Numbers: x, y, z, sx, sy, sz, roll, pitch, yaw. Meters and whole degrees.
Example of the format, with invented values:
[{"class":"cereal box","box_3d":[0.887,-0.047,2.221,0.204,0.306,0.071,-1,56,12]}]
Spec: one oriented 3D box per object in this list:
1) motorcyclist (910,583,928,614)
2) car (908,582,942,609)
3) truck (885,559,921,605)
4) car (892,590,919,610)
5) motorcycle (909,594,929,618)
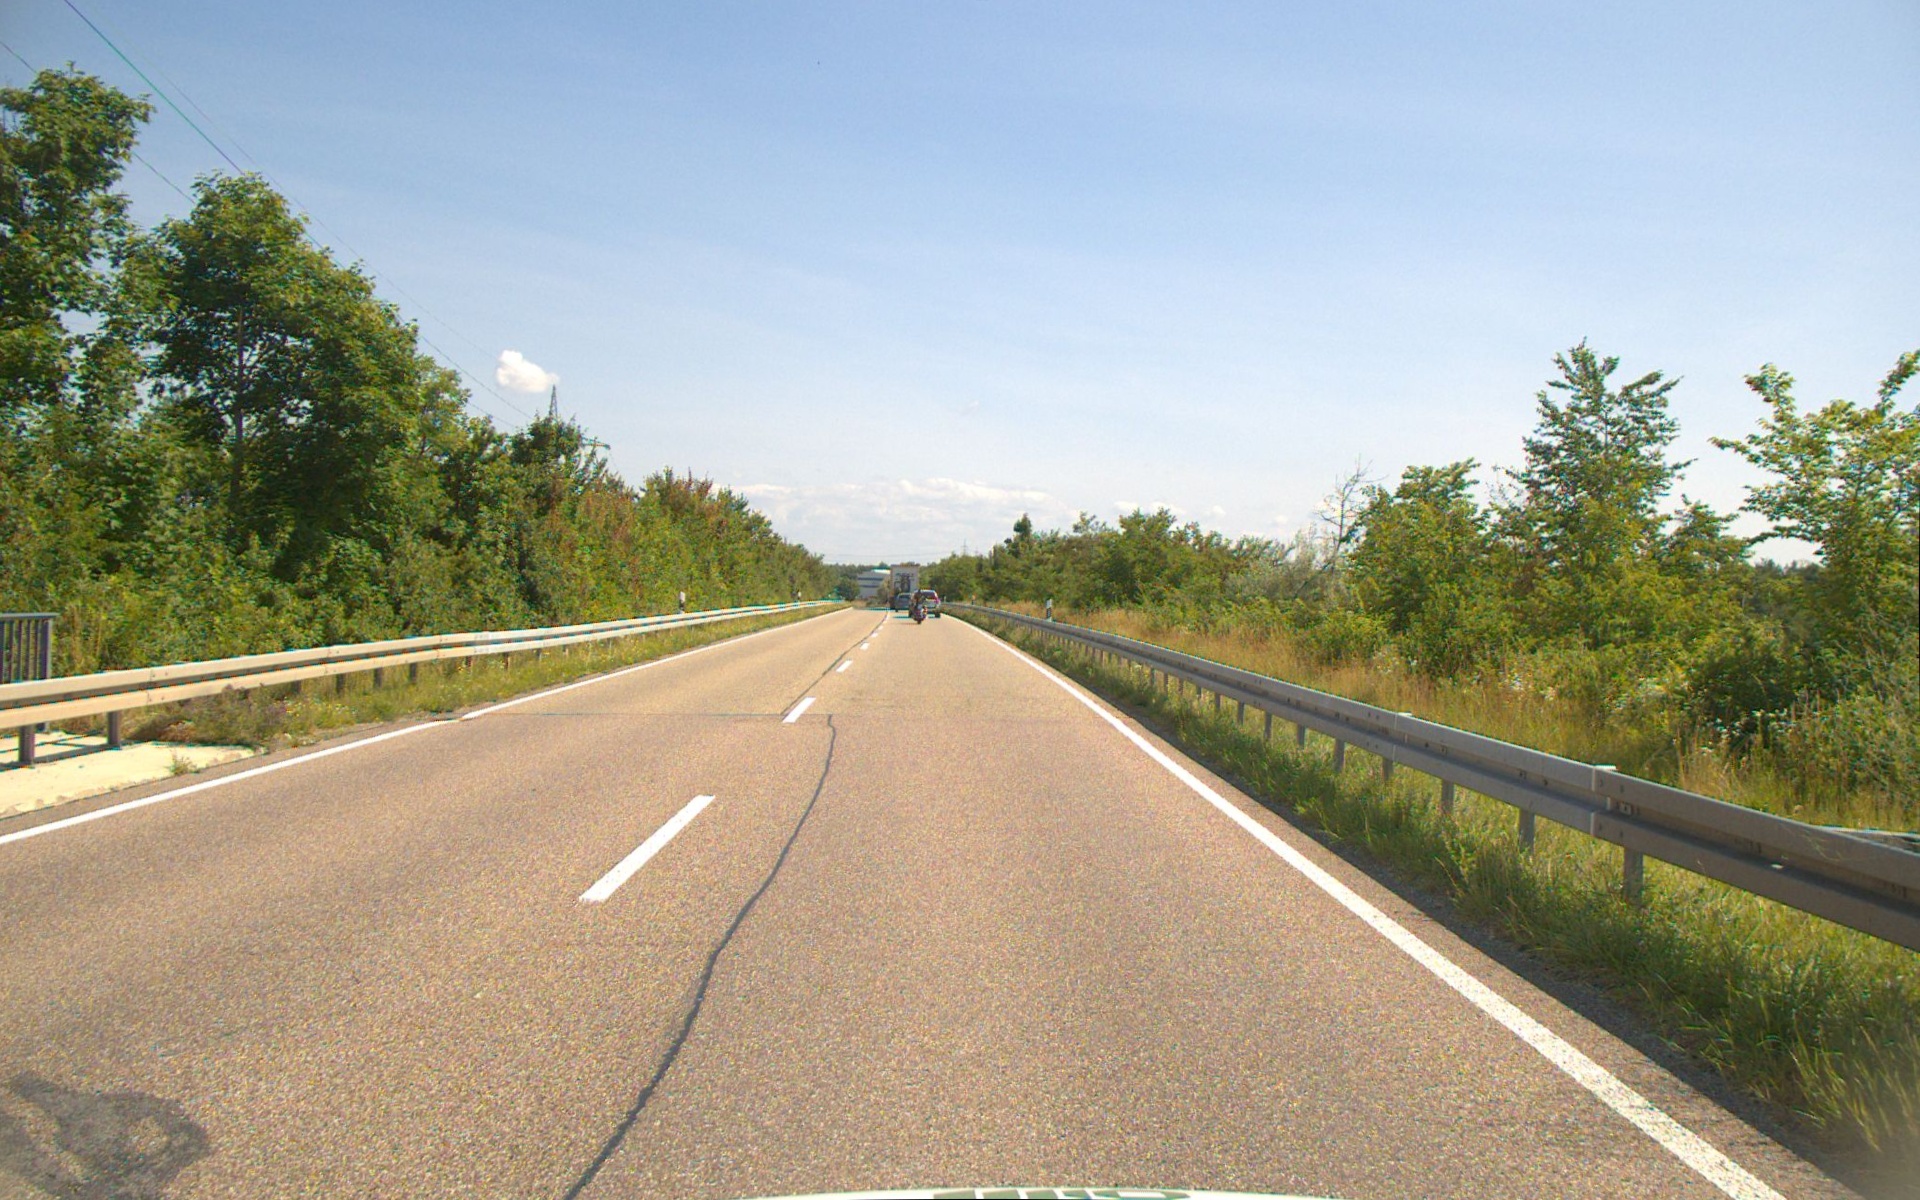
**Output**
[{"class":"motorcyclist","box_3d":[-1.830,-0.079,74.702,0.764,1.348,0.813,1,1,1]},{"class":"car","box_3d":[-2.048,-0.286,95.511,1.789,1.476,3.998,1,1,-3]},{"class":"truck","box_3d":[-5.379,-1.697,154.557,3.177,4.048,9.439,1,1,-3]},{"class":"car","box_3d":[-4.186,0.009,127.652,1.827,1.445,4.001,1,1,1]},{"class":"motorcycle","box_3d":[-1.845,0.251,74.688,0.764,0.992,2.362,1,1,1]}]
